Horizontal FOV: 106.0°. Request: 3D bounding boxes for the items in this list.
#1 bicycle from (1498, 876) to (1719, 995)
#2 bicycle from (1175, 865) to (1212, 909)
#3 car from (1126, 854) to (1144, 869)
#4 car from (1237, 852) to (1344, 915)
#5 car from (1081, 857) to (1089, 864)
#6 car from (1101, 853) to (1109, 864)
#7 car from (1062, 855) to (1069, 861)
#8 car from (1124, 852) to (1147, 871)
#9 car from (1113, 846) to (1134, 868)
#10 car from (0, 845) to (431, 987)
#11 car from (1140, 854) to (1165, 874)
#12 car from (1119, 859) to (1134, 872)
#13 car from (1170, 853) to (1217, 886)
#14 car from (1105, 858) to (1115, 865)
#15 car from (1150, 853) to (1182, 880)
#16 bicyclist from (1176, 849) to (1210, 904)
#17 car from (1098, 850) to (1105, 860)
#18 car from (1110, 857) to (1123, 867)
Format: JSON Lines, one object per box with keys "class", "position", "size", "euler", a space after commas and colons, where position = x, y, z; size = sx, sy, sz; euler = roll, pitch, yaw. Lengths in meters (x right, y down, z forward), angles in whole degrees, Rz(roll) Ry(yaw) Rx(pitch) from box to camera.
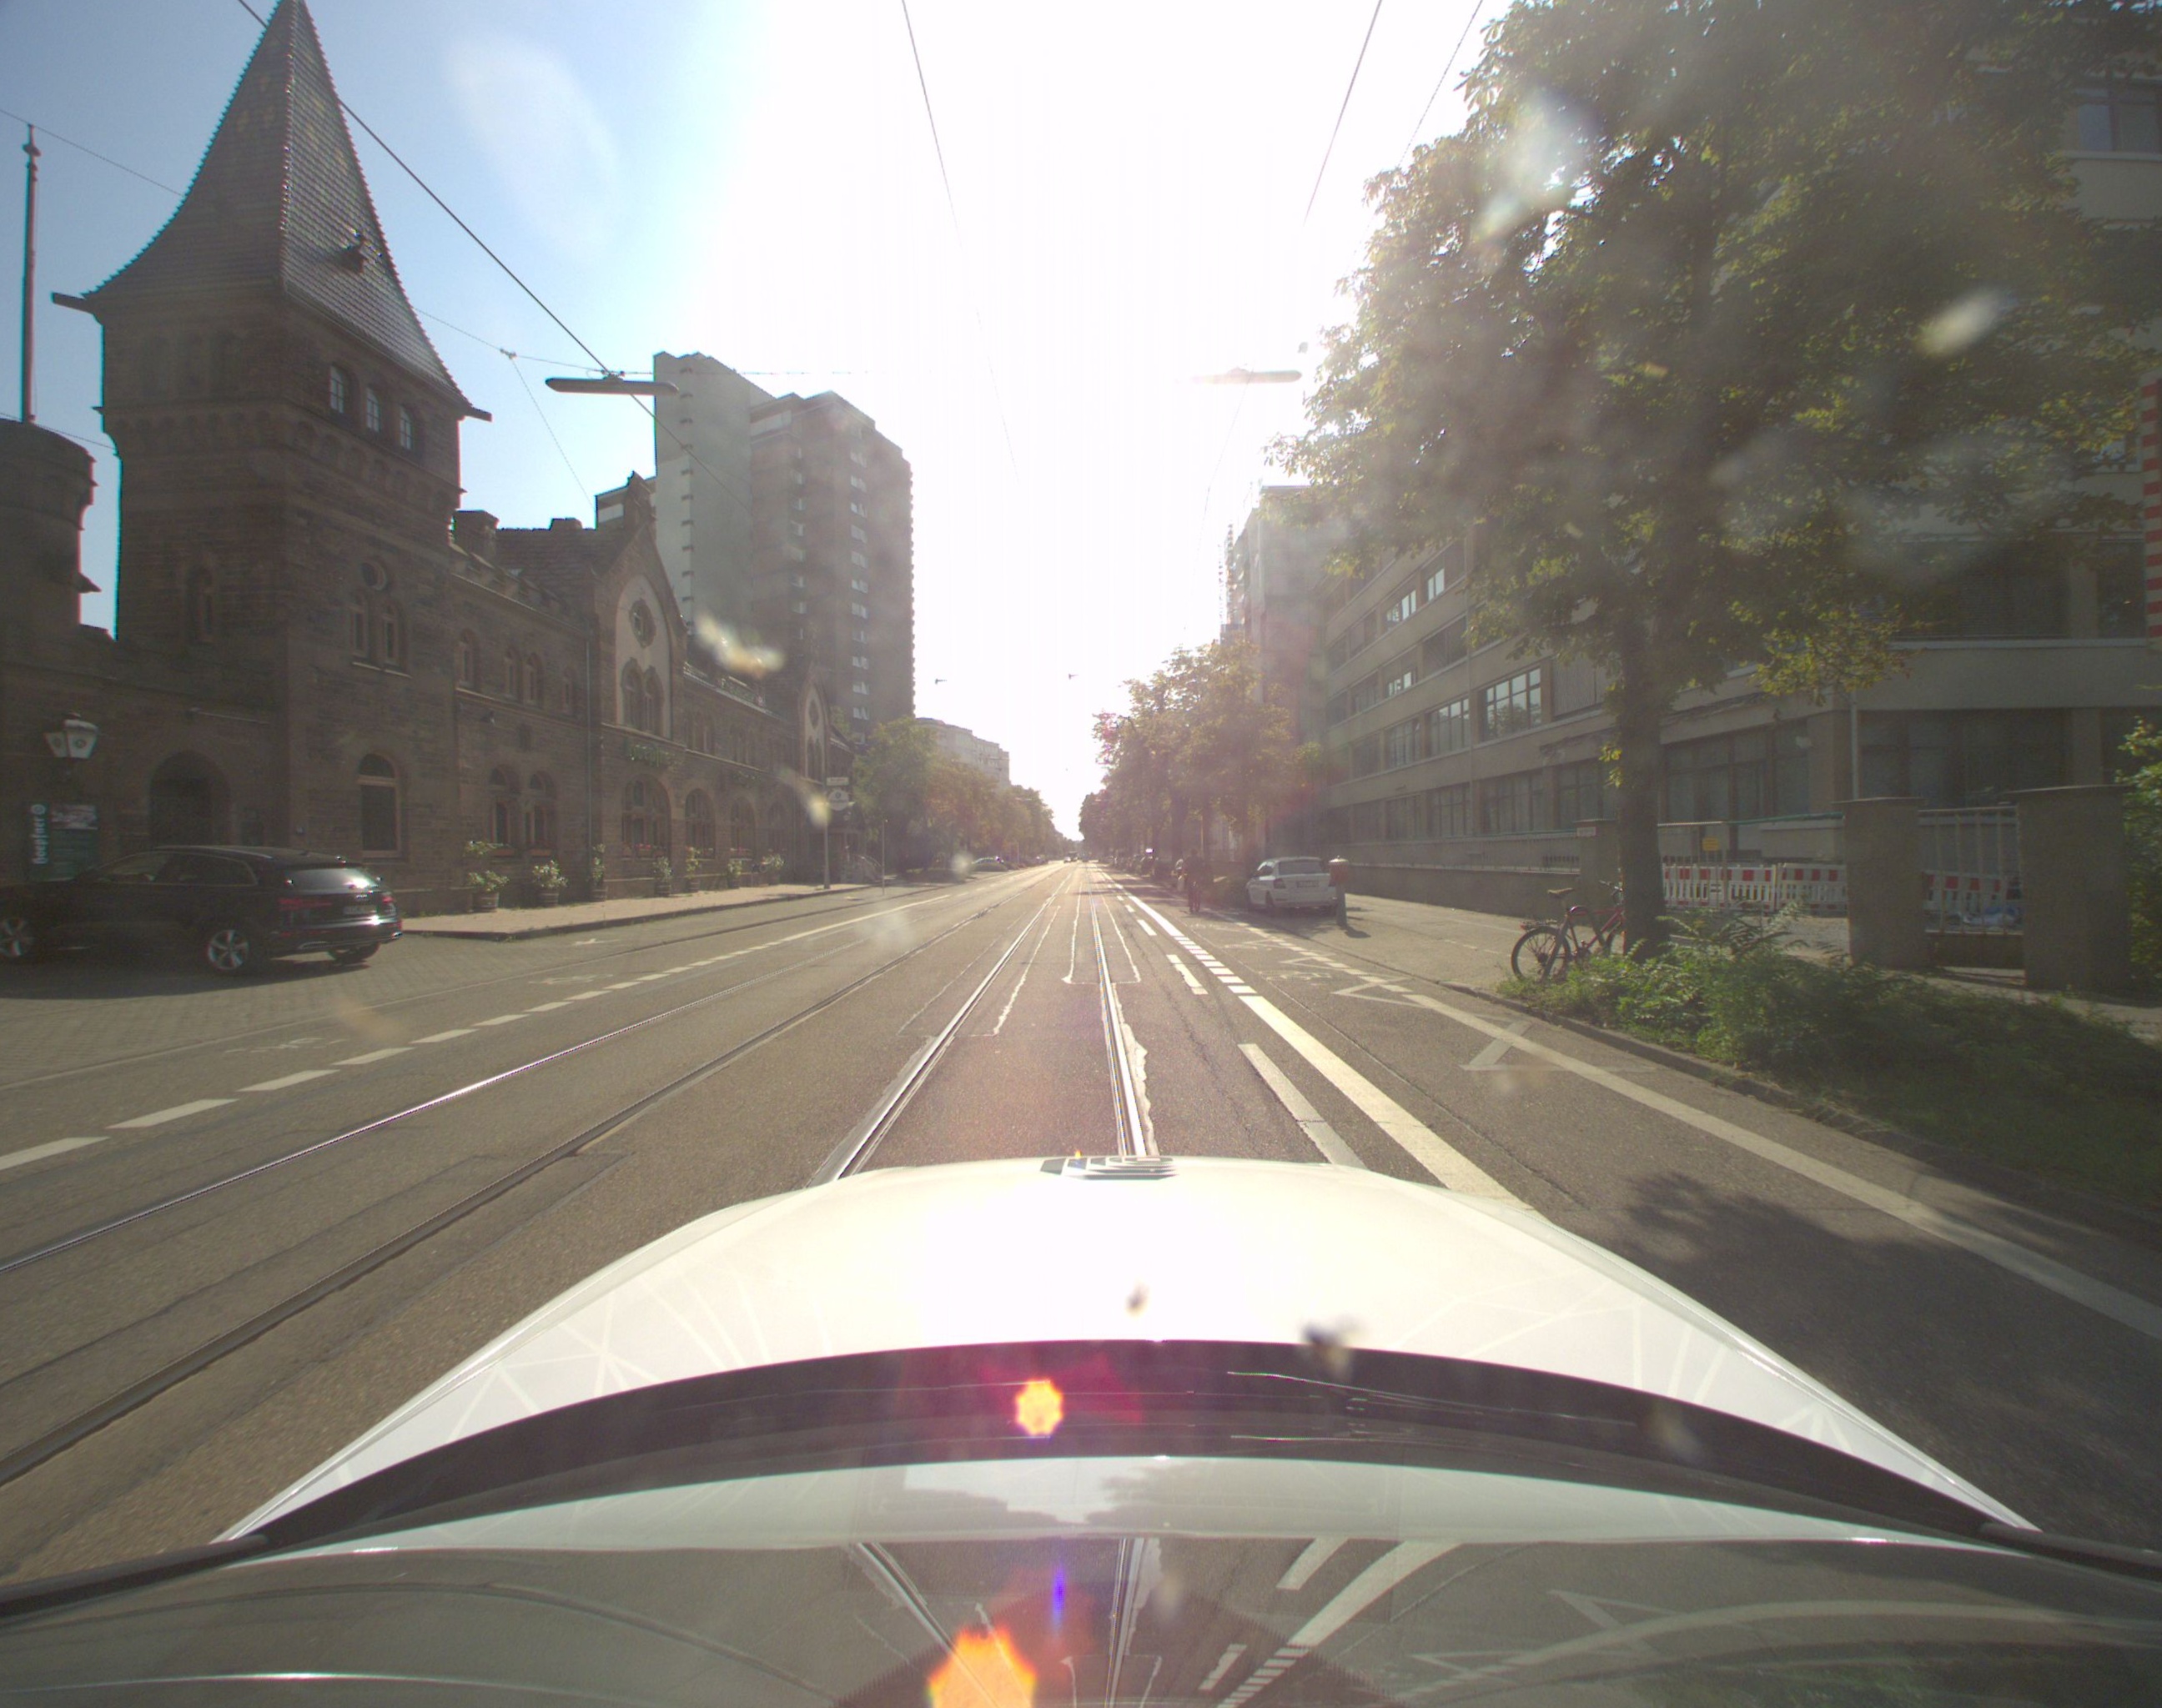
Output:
{"class": "bicycle", "position": [5.444, 0.817, 8.484], "size": [1.764, 1.064, 0.795], "euler": [-3, -1, -2]}
{"class": "bicycle", "position": [3.115, 0.893, 22.740], "size": [0.784, 1.144, 2.306], "euler": [-1, -1, 2]}
{"class": "car", "position": [5.619, 0.803, 85.148], "size": [1.611, 1.413, 4.000], "euler": [-2, -1, 1]}
{"class": "car", "position": [5.369, 0.718, 21.387], "size": [1.635, 1.430, 3.986], "euler": [-2, -1, -2]}
{"class": "car", "position": [1.040, 1.675, 207.476], "size": [1.986, 1.838, 4.001], "euler": [-1, -1, 1]}
{"class": "car", "position": [5.884, 1.044, 200.096], "size": [1.997, 2.491, 4.477], "euler": [-2, -2, 1]}
{"class": "car", "position": [-3.811, 1.054, 200.201], "size": [1.823, 1.376, 4.511], "euler": [-2, 0, -1]}
{"class": "car", "position": [4.940, 0.636, 74.425], "size": [1.748, 1.691, 4.393], "euler": [-1, 0, -2]}
{"class": "car", "position": [5.481, 0.388, 105.576], "size": [2.077, 2.552, 5.498], "euler": [-5, -1, -1]}
{"class": "car", "position": [-12.163, 0.801, 11.389], "size": [4.386, 1.645, 1.955], "euler": [2, 0, -3]}
{"class": "car", "position": [5.618, 0.772, 64.258], "size": [1.570, 1.485, 3.739], "euler": [-3, 0, 1]}
{"class": "car", "position": [5.311, 1.358, 95.305], "size": [1.611, 1.374, 4.827], "euler": [-2, -1, 1]}
{"class": "car", "position": [5.401, 0.733, 39.535], "size": [1.641, 1.428, 4.083], "euler": [-3, 0, -1]}
{"class": "car", "position": [5.613, 1.490, 158.025], "size": [1.684, 1.418, 3.635], "euler": [-1, -1, 1]}
{"class": "car", "position": [5.325, 0.767, 51.388], "size": [1.640, 1.511, 3.778], "euler": [-3, -1, 1]}
{"class": "bicyclist", "position": [3.115, 0.613, 22.735], "size": [0.784, 1.470, 1.116], "euler": [-1, -1, 2]}
{"class": "car", "position": [5.719, 0.290, 226.925], "size": [1.997, 2.475, 4.477], "euler": [-2, -1, 1]}
{"class": "car", "position": [5.488, 1.274, 124.699], "size": [1.748, 1.377, 4.718], "euler": [-3, -1, 0]}
